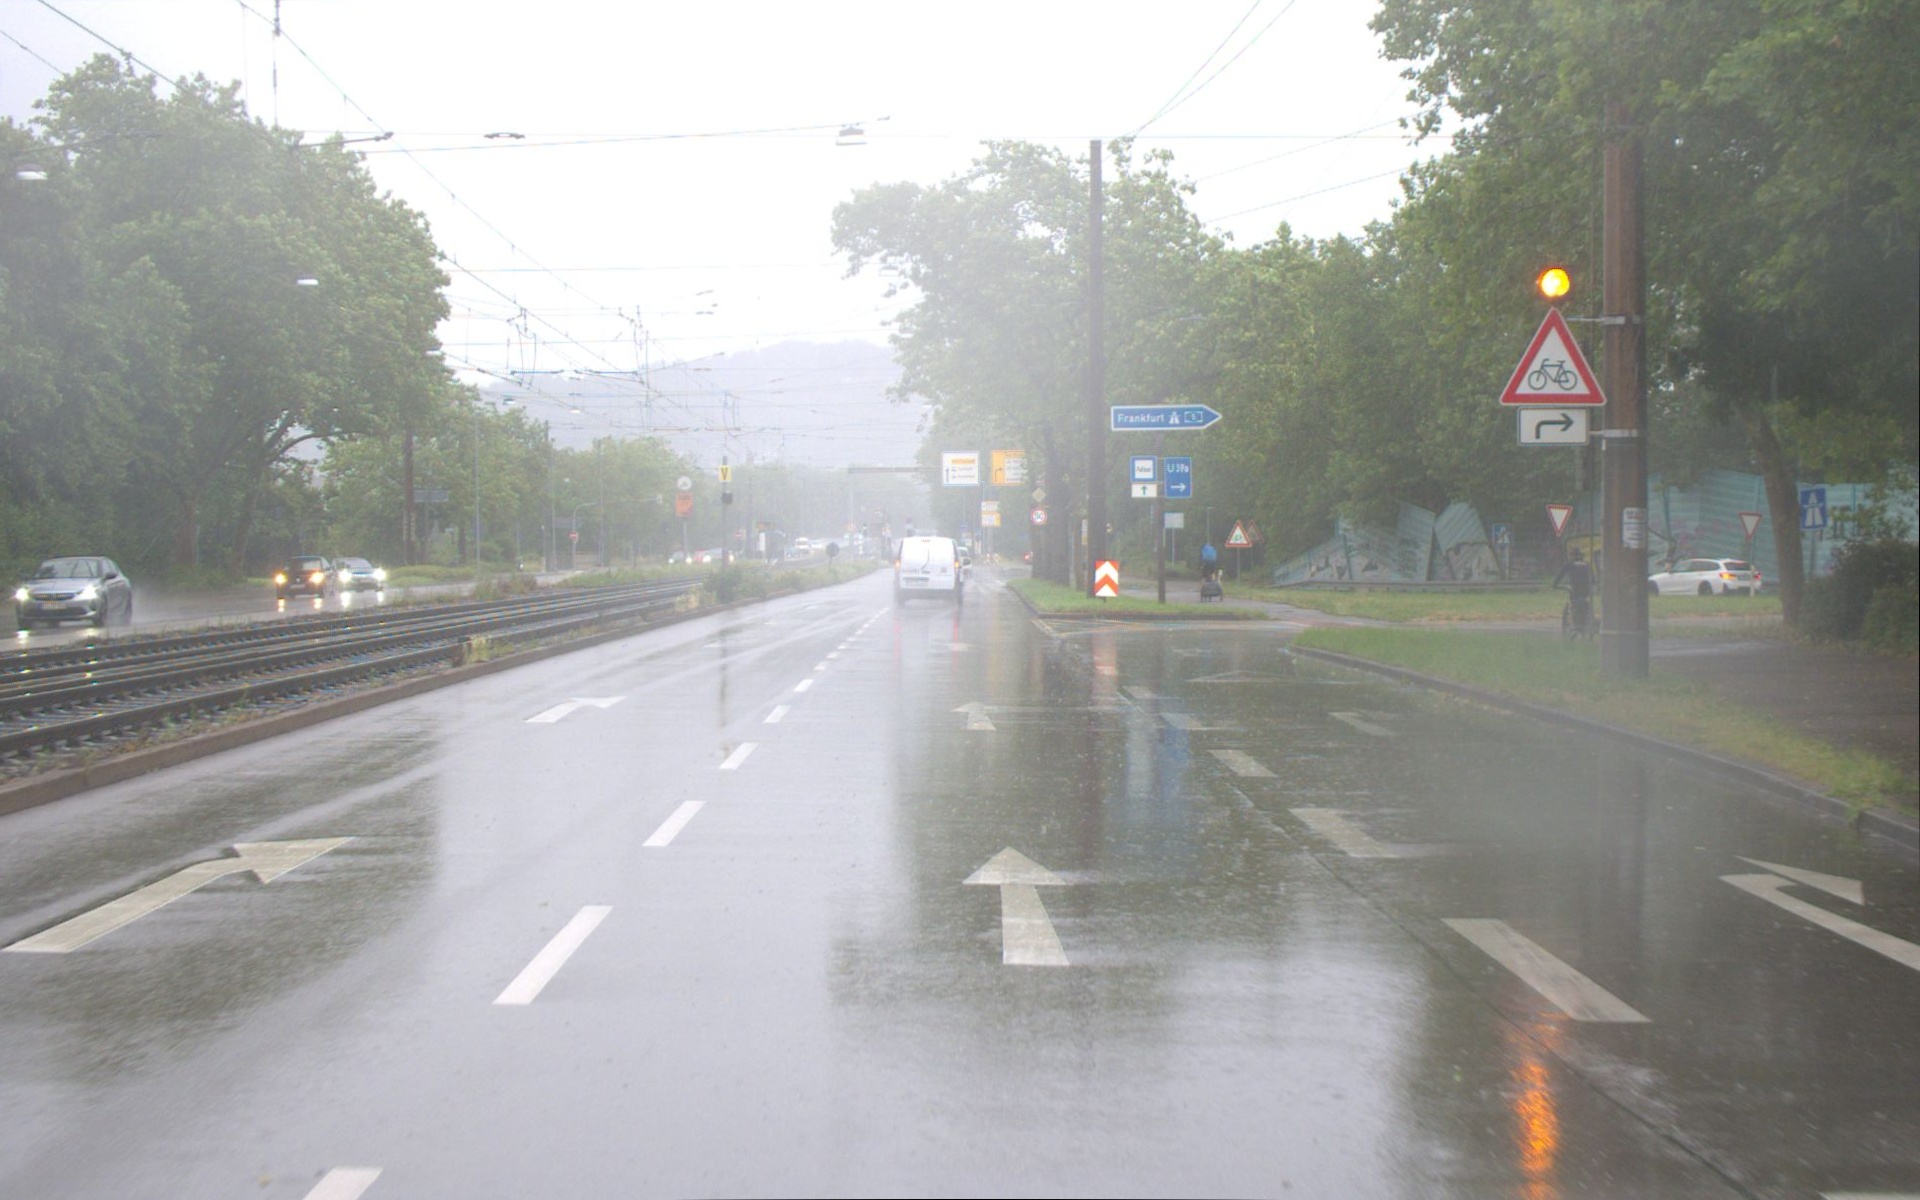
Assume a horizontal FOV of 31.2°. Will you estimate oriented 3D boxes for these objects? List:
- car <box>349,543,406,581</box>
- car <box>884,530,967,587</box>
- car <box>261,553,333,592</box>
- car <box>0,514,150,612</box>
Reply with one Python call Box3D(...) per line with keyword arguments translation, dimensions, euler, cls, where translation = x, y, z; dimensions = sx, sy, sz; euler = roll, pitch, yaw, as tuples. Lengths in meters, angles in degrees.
Box3D(translation=(-24.426, -1.603, 144.376), dimensions=(1.690, 1.518, 4.956), euler=(1, 1, -2), cls="car")
Box3D(translation=(-0.896, -1.082, 89.160), dimensions=(2.077, 1.415, 4.000), euler=(-1, 1, 0), cls="car")
Box3D(translation=(-23.159, -0.976, 120.205), dimensions=(1.771, 1.326, 4.381), euler=(1, 1, -2), cls="car")
Box3D(translation=(-18.033, -0.774, 70.132), dimensions=(1.993, 1.776, 4.000), euler=(5, 1, -1), cls="car")
